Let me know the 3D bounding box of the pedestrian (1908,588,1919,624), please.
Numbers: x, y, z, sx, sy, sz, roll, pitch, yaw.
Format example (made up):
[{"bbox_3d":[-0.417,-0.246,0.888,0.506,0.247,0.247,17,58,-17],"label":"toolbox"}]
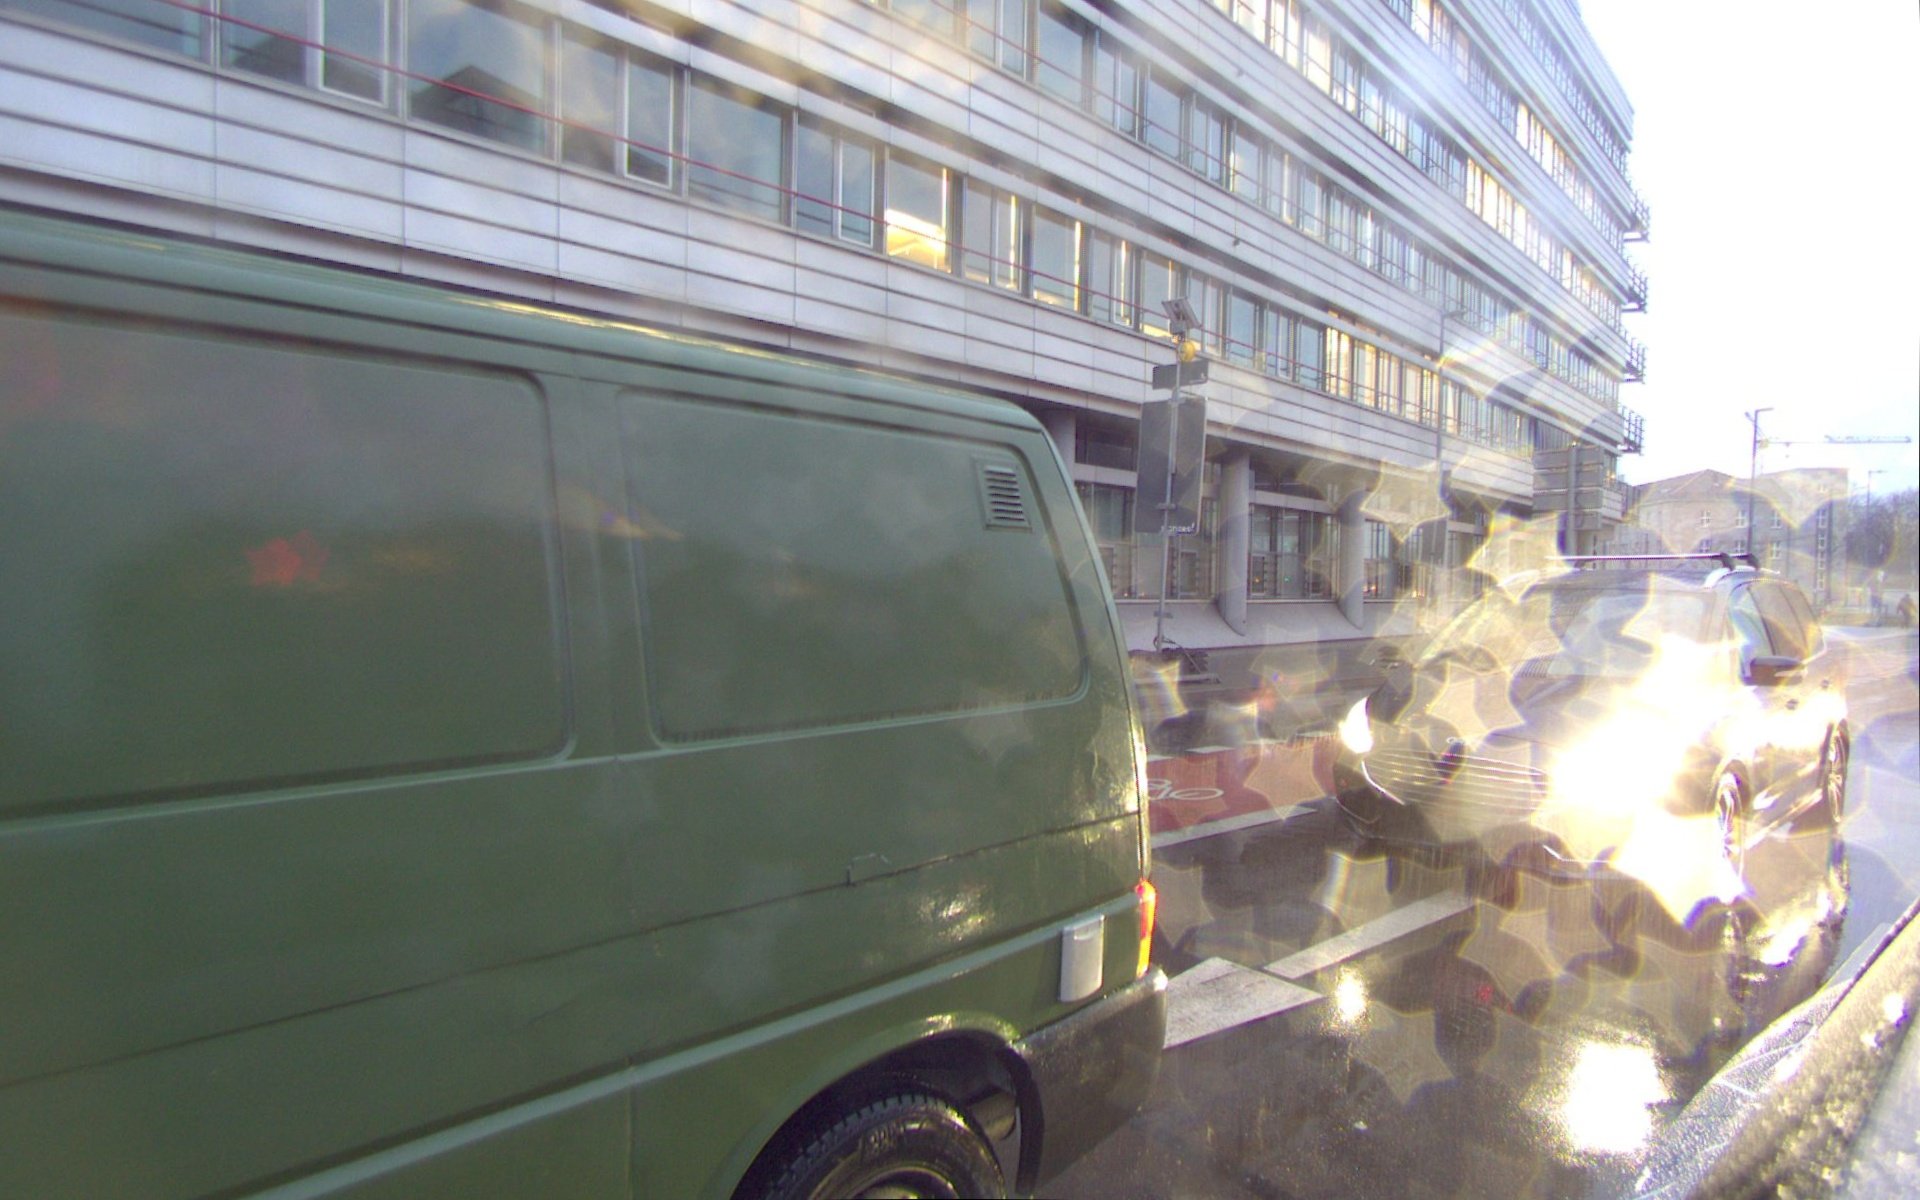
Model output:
[{"bbox_3d":[46.915,0.290,49.441,0.953,1.722,0.746,0,4,-44],"label":"pedestrian"}]

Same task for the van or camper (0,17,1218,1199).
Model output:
[{"bbox_3d":[-1.684,0.455,1.298,4.341,1.931,1.760,0,0,-41],"label":"van or camper"}]

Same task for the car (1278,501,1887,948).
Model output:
[{"bbox_3d":[4.124,0.500,6.350,4.587,1.834,1.887,0,0,-39],"label":"car"}]

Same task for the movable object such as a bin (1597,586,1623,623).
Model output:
[{"bbox_3d":[25.494,0.166,39.719,0.826,1.446,0.665,0,1,-44],"label":"movable object such as a bin"}]

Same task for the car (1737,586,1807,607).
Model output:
[{"bbox_3d":[71.863,-0.306,89.647,1.958,1.782,4.386,0,1,-24],"label":"car"}]

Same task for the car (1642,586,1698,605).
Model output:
[{"bbox_3d":[68.617,-0.462,97.831,1.958,1.693,4.013,0,1,-24],"label":"car"}]

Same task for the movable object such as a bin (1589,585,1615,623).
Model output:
[{"bbox_3d":[24.835,0.151,39.135,0.826,1.446,0.665,0,1,-44],"label":"movable object such as a bin"}]
